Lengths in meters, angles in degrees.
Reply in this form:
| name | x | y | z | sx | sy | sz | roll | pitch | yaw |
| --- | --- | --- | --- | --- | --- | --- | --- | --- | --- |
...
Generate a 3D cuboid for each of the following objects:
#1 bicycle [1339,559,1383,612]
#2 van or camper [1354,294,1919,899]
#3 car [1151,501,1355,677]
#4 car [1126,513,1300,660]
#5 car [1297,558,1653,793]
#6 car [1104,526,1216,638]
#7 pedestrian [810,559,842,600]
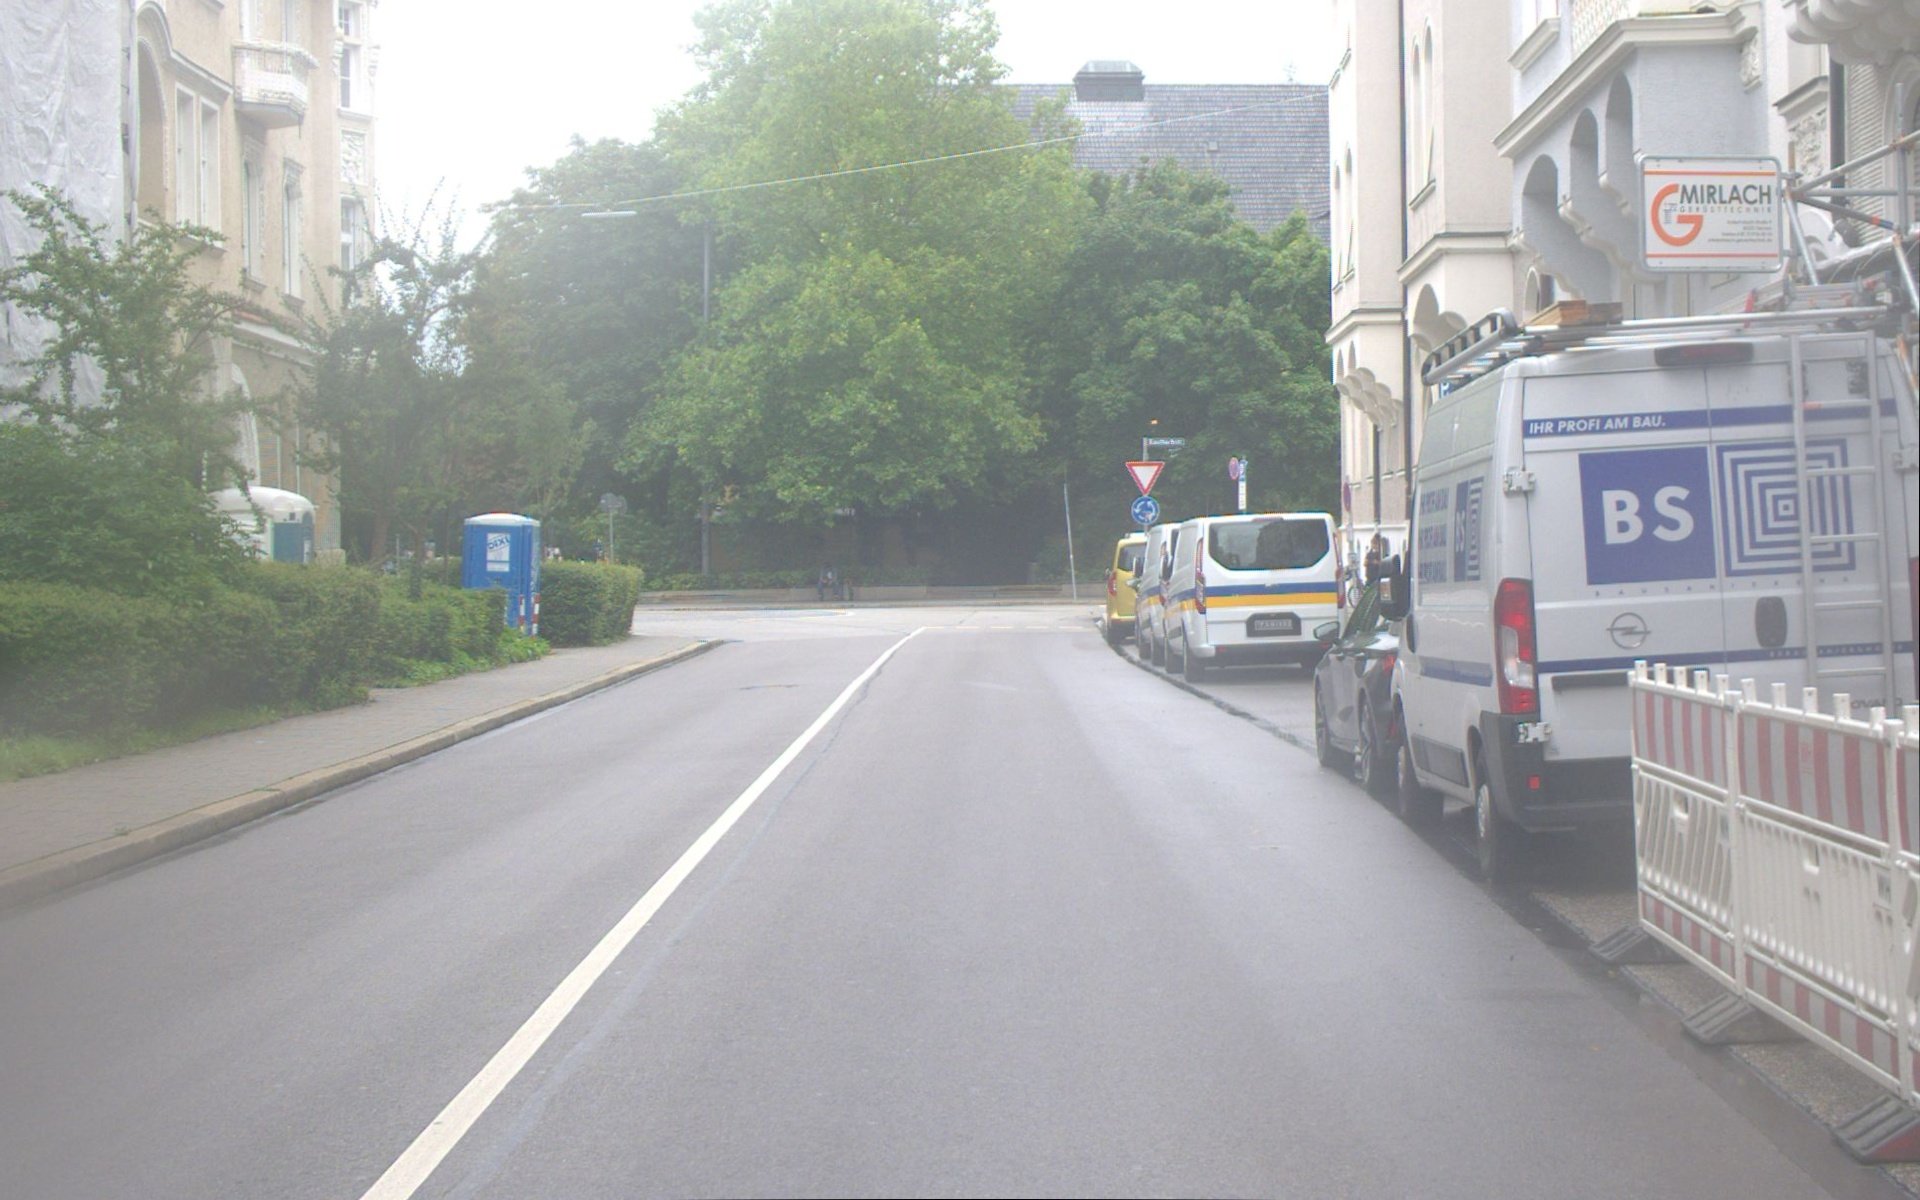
| name | x | y | z | sx | sy | sz | roll | pitch | yaw |
| --- | --- | --- | --- | --- | --- | --- | --- | --- | --- |
| bicycle | 8.639 | -0.323 | 74.191 | 0.694 | 1.090 | 2.283 | -3 | 1 | 2 |
| van or camper | 3.326 | -0.046 | 17.831 | 1.953 | 2.628 | 5.458 | -1 | 1 | 1 |
| car | 3.551 | -0.163 | 42.493 | 1.959 | 2.007 | 4.993 | -1 | 1 | -1 |
| car | 3.515 | -0.218 | 48.614 | 1.959 | 1.930 | 4.993 | -1 | 1 | -1 |
| car | 3.421 | 0.448 | 23.533 | 1.753 | 1.429 | 4.087 | -1 | 1 | -1 |
| car | 3.490 | -0.338 | 59.882 | 1.850 | 1.846 | 4.820 | -1 | 1 | 3 |
| pedestrian | -3.937 | -0.608 | 101.090 | 0.812 | 1.185 | 0.919 | -1 | 1 | 7 |
